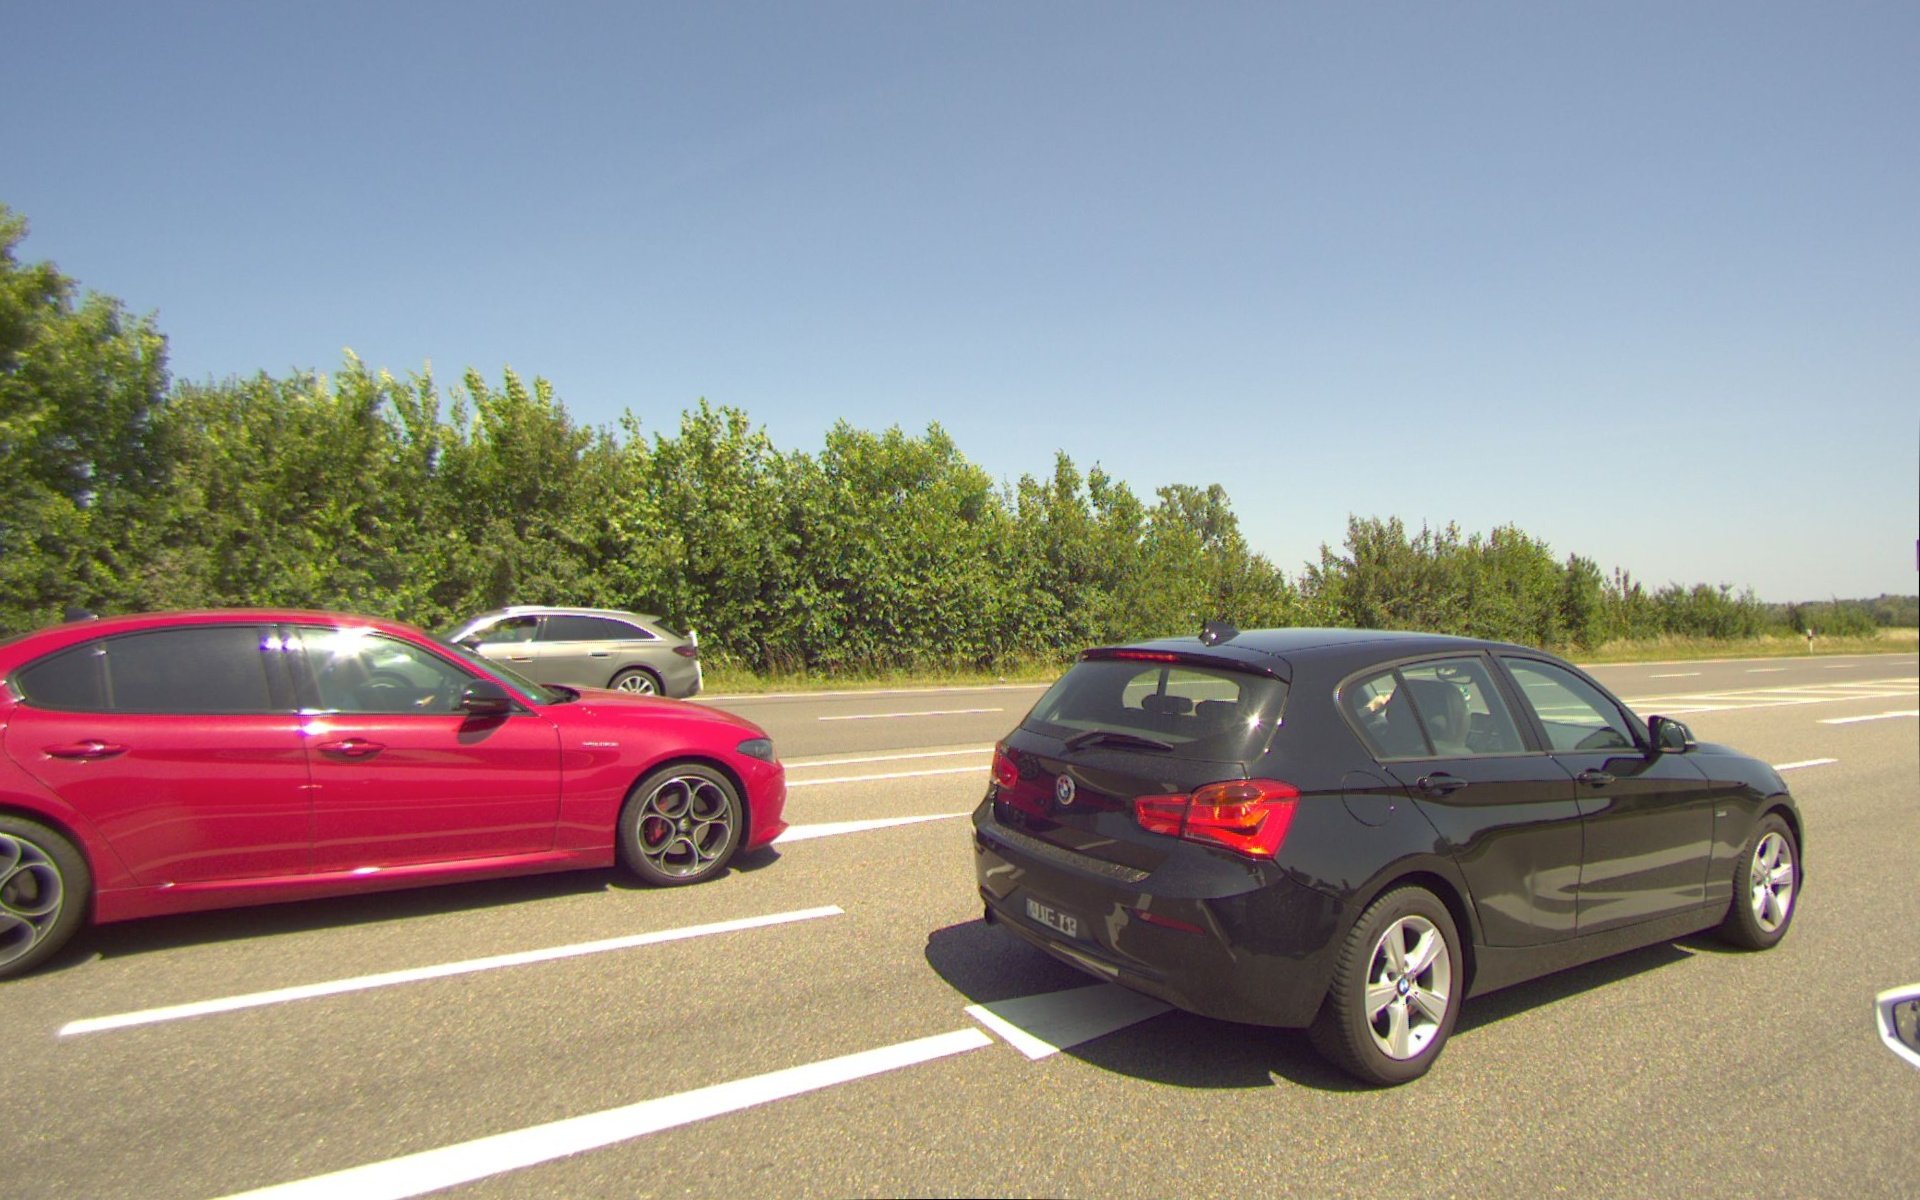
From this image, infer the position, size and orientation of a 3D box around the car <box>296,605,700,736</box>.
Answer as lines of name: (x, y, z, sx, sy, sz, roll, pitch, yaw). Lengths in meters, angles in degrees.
car: (-5.851, 0.804, 12.977, 4.482, 1.417, 1.867, 1, 0, -33)

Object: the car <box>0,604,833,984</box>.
car: (-3.091, 0.764, 5.268, 4.514, 1.440, 1.740, 1, 0, -32)

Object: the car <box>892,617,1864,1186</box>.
car: (2.024, 0.825, 4.496, 4.329, 1.450, 1.775, 1, 0, -30)
